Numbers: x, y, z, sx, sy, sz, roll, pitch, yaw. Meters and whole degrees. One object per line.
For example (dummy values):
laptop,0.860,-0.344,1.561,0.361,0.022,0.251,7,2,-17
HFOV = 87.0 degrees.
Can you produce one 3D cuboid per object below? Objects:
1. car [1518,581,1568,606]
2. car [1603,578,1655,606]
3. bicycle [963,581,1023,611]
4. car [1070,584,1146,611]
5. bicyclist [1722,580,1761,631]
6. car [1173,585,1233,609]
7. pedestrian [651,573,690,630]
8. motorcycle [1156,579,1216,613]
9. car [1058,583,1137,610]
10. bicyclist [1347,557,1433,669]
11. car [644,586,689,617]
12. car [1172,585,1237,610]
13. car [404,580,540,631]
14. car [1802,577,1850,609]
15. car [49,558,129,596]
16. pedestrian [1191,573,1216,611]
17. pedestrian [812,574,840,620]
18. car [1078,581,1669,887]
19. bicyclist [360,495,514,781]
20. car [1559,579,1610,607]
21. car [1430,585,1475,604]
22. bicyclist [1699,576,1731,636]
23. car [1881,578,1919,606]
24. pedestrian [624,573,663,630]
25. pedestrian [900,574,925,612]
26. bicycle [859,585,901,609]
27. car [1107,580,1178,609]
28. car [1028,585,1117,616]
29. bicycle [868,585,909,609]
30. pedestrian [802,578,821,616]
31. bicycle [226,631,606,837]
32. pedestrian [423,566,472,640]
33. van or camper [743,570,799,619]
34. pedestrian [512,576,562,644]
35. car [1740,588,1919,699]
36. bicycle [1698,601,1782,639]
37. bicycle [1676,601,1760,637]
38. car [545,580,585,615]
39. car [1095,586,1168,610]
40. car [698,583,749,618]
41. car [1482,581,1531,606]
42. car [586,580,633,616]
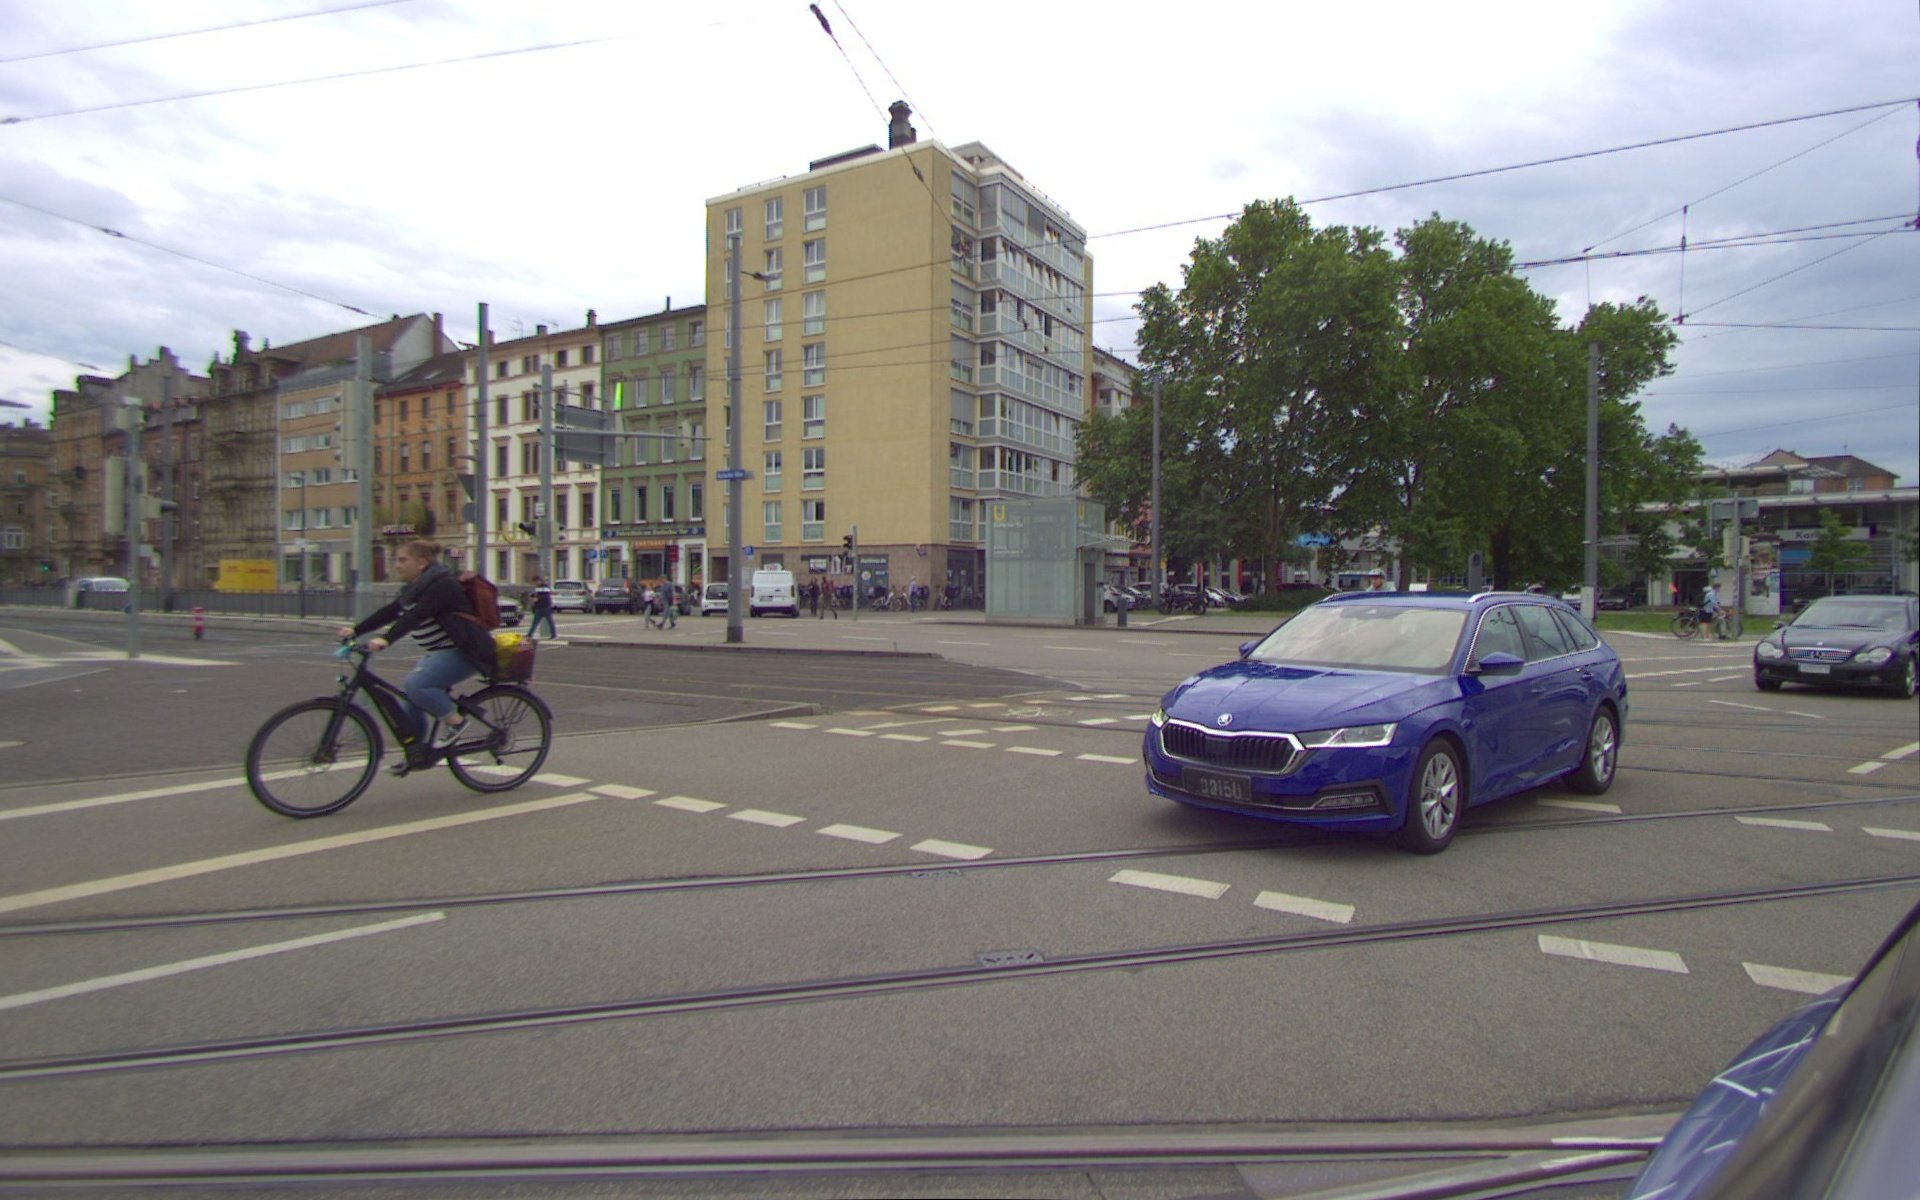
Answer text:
car,45.008,-0.505,78.077,4.157,1.483,1.956,-7,5,-38
car,48.811,-0.603,73.823,4.160,1.472,1.956,-10,7,-38
bicycle,1.548,-0.198,47.619,2.765,1.394,0.893,0,1,34
car,8.535,-0.177,58.312,3.955,1.460,1.985,1,1,23
bicyclist,24.146,0.160,31.256,0.883,1.541,0.661,0,0,44
car,17.521,-0.233,73.025,3.956,1.634,1.984,1,1,24
pedestrian,-8.346,0.038,29.160,0.771,1.622,0.895,0,1,9
motorcycle,9.353,-0.182,41.805,2.267,1.383,1.039,1,1,24
car,7.574,-0.199,55.797,3.957,1.482,1.983,0,1,25
bicyclist,6.543,0.187,15.413,0.915,1.639,0.792,-1,-1,-31
car,-13.229,0.042,45.738,1.645,1.320,3.745,-1,1,-12
car,16.436,-0.198,67.906,3.956,1.634,1.984,1,1,24
car,-15.511,0.135,32.114,4.415,1.504,1.976,0,1,35
car,55.561,-0.461,64.883,4.602,1.662,1.952,-7,5,-44
car,-41.843,-1.078,48.623,3.973,1.772,1.976,0,1,35
pedestrian,11.901,-0.397,49.408,0.862,1.842,0.885,1,1,40
pedestrian,-5.200,-0.131,39.310,0.775,1.779,1.046,0,1,10
car,3.081,0.600,6.982,4.672,1.454,1.769,-1,1,-39
bicyclist,-3.393,0.224,6.563,0.791,1.712,0.617,0,0,-37
car,46.843,-0.522,75.875,4.159,1.615,1.956,-9,6,-38
car,41.284,-0.454,84.822,1.414,1.531,3.120,0,1,-38
bicyclist,22.713,0.166,30.446,0.730,1.773,0.578,1,0,37
car,58.162,-0.517,61.630,1.938,1.544,4.192,0,2,27
pedestrian,-9.203,0.036,29.461,0.756,1.632,0.949,0,1,9
pedestrian,-2.249,-0.341,47.996,0.899,1.759,0.805,1,1,30
bicycle,-3.921,-0.156,49.675,2.022,1.183,0.663,1,1,29
car,11.247,-0.366,62.304,3.956,1.745,1.984,0,1,24
car,5.675,-0.022,51.328,4.133,1.461,1.822,1,1,31
bicycle,-3.564,-0.163,50.264,2.022,1.183,0.663,1,1,29
pedestrian,-6.744,-0.144,46.076,0.605,1.736,0.825,0,1,-28
bicycle,-3.438,0.773,6.529,2.087,1.068,0.626,-1,1,-37
pedestrian,-13.486,0.071,26.644,0.771,1.936,0.902,0,1,9
van or camper,-8.119,-0.267,43.881,2.128,2.003,5.474,0,1,-7
pedestrian,-10.493,0.235,25.119,0.771,1.664,0.902,0,1,9
car,13.460,0.534,14.992,4.338,1.387,1.772,-1,2,-34
bicycle,24.086,0.593,31.279,1.941,1.010,0.592,5,4,44
bicycle,22.755,0.559,30.417,1.981,1.011,0.572,1,0,37
car,-19.002,-0.156,48.594,1.700,1.607,3.746,-1,1,-22
car,10.183,-0.140,59.979,3.955,1.352,1.823,1,1,23
car,-10.588,-0.009,45.517,1.701,1.435,3.742,-1,1,-5
car,43.369,-0.556,80.260,4.158,1.530,1.956,-8,6,-38
car,-16.445,-0.126,47.364,1.852,1.602,3.746,-1,1,-22
